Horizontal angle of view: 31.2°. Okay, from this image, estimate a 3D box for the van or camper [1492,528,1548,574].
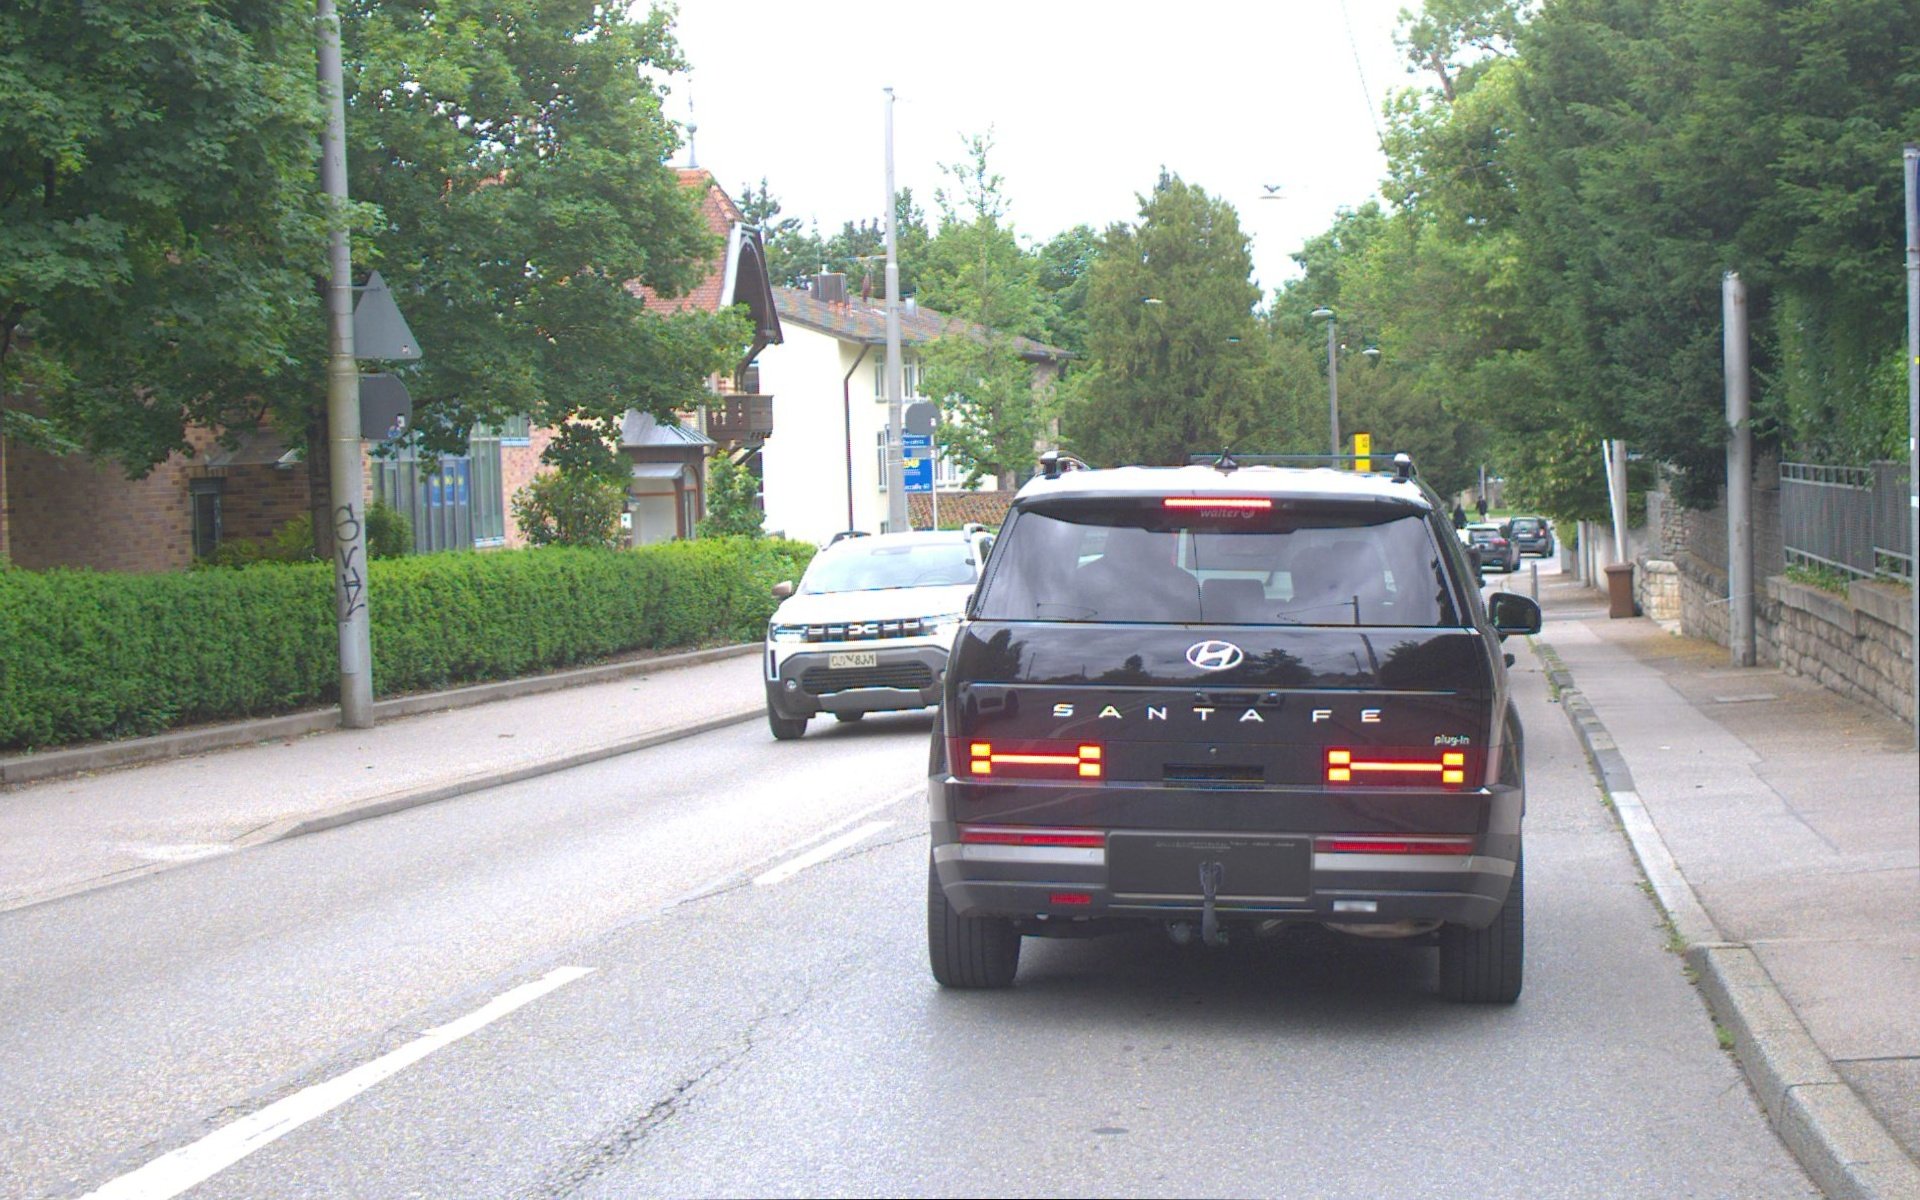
[{"bbox_3d":[21.192,-1.861,130.154,1.994,1.646,3.999,-3,1,10],"label":"van or camper"}]

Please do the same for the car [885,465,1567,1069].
[{"bbox_3d":[1.085,0.418,12.106,1.958,1.707,4.222,1,2,9],"label":"car"}]

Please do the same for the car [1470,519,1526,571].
[{"bbox_3d":[17.982,-1.817,114.854,1.645,1.555,3.648,-1,-1,12],"label":"car"}]

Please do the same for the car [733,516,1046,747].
[{"bbox_3d":[-0.489,0.200,28.296,1.769,1.632,4.300,-4,1,9],"label":"car"}]

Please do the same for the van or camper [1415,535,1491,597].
[{"bbox_3d":[14.089,-0.987,98.061,1.994,1.646,3.999,-3,1,10],"label":"van or camper"}]

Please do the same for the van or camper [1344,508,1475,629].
[{"bbox_3d":[7.643,-0.557,58.174,1.994,1.881,3.999,-3,1,9],"label":"van or camper"}]

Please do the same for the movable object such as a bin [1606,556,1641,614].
[{"bbox_3d":[11.029,-0.257,57.143,0.445,0.906,0.394,-5,2,19],"label":"movable object such as a bin"}]

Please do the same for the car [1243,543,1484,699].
[{"bbox_3d":[4.059,0.171,34.071,1.994,1.399,3.998,-2,1,12],"label":"car"}]

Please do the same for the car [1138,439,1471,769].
[{"bbox_3d":[2.340,0.029,23.438,1.957,1.949,4.222,3,0,6],"label":"car"}]

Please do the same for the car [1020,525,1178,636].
[{"bbox_3d":[2.033,-0.297,49.158,1.767,1.417,4.064,-3,1,8],"label":"car"}]
